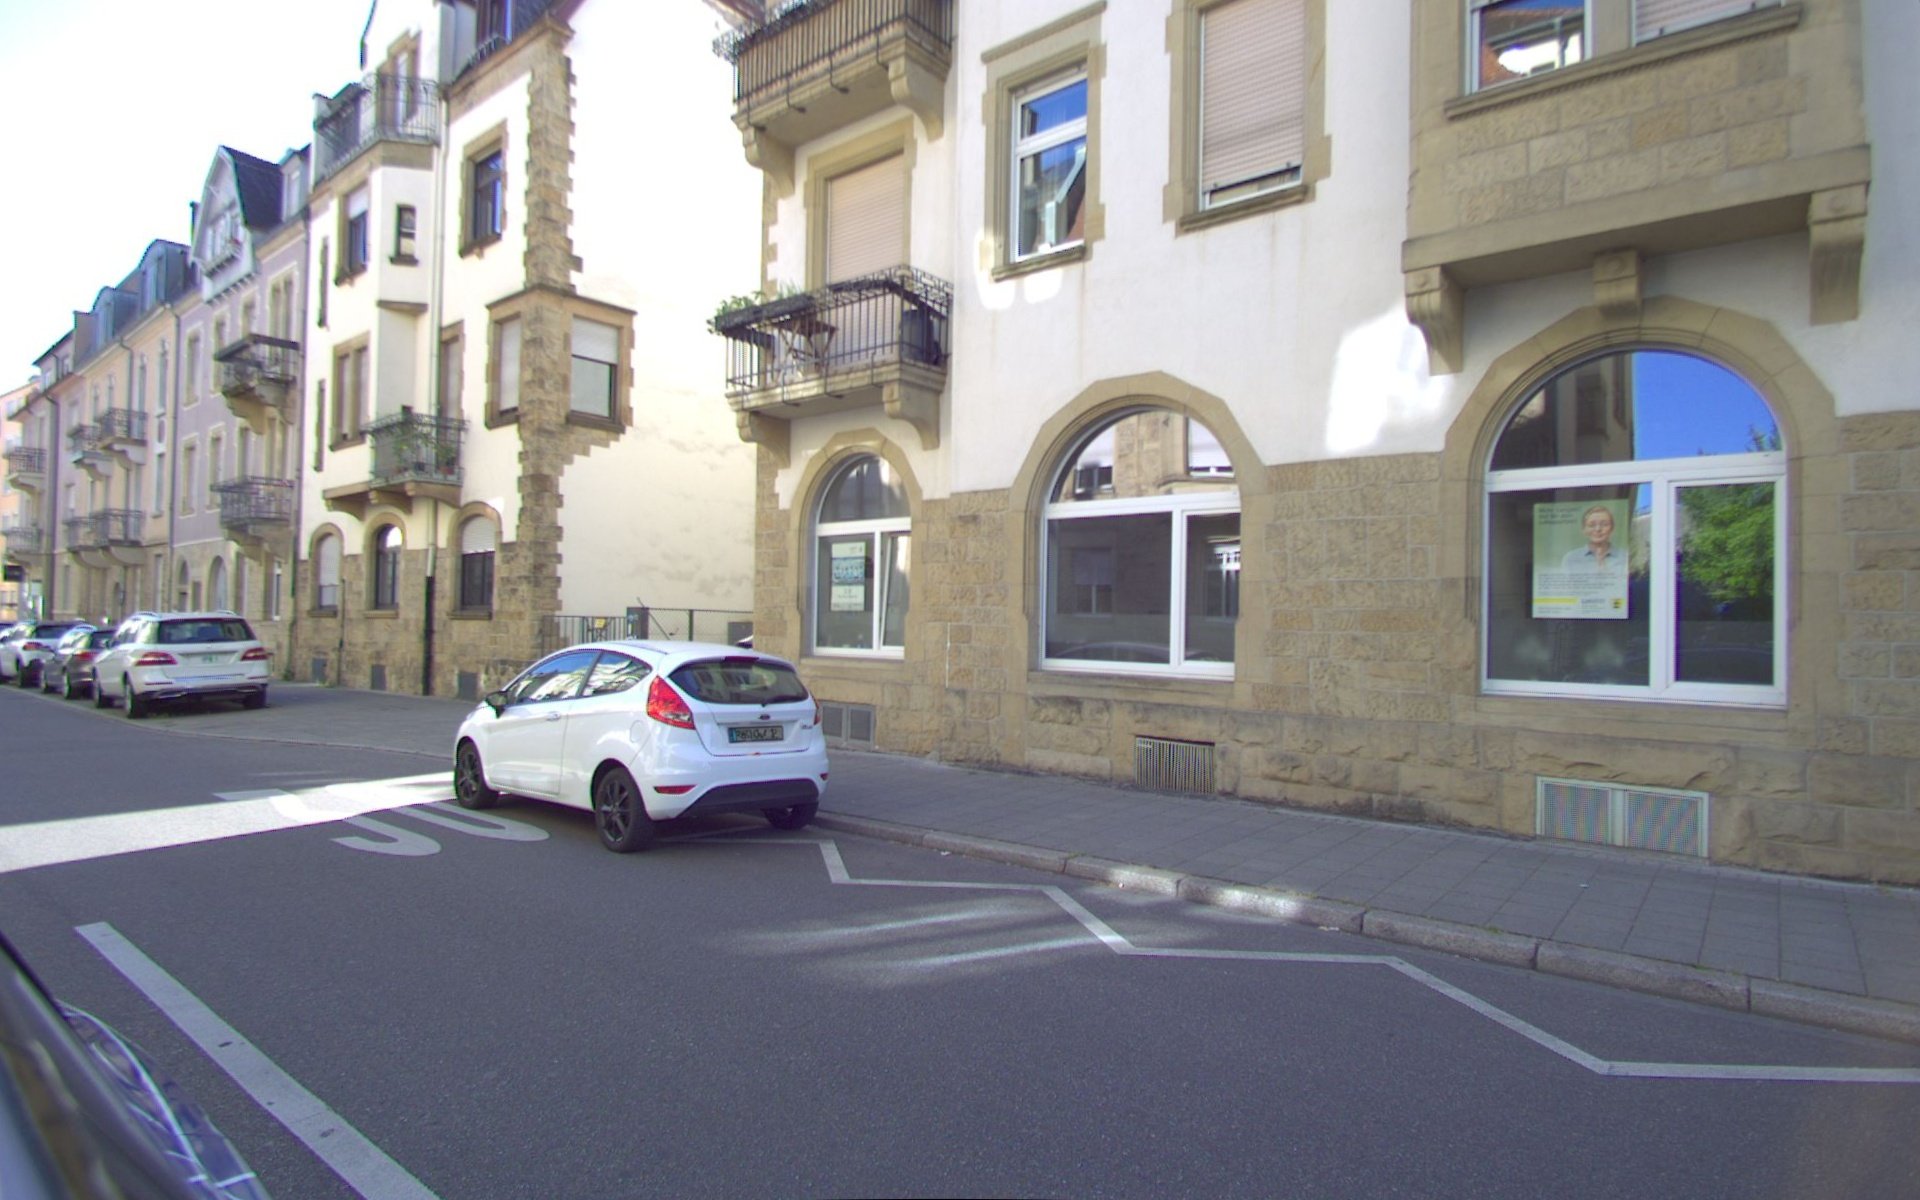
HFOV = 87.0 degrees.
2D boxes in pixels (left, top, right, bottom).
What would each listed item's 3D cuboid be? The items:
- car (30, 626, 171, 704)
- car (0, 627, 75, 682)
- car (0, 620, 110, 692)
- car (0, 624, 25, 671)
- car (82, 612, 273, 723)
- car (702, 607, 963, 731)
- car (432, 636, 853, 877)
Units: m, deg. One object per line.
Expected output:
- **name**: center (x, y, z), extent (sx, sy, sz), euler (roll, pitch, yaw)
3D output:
- **car**: center (-18.583, 1.330, 21.811), extent (4.275, 1.498, 1.558), euler (-1, -1, 39)
- **car**: center (-26.867, 1.505, 28.857), extent (3.658, 1.404, 1.658), euler (-1, 1, 36)
- **car**: center (-22.857, 1.335, 25.269), extent (4.015, 1.595, 1.698), euler (-1, 1, 38)
- **car**: center (-33.058, 1.585, 34.120), extent (3.719, 1.550, 1.698), euler (-1, -2, 38)
- **car**: center (-14.113, 1.112, 18.155), extent (4.724, 1.735, 1.872), euler (-1, -2, 42)
- **car**: center (-1.932, 1.054, 16.321), extent (1.908, 1.741, 3.928), euler (-2, -3, 40)
- **car**: center (-2.723, 1.051, 8.249), extent (3.734, 1.475, 1.616), euler (-1, -2, 43)
